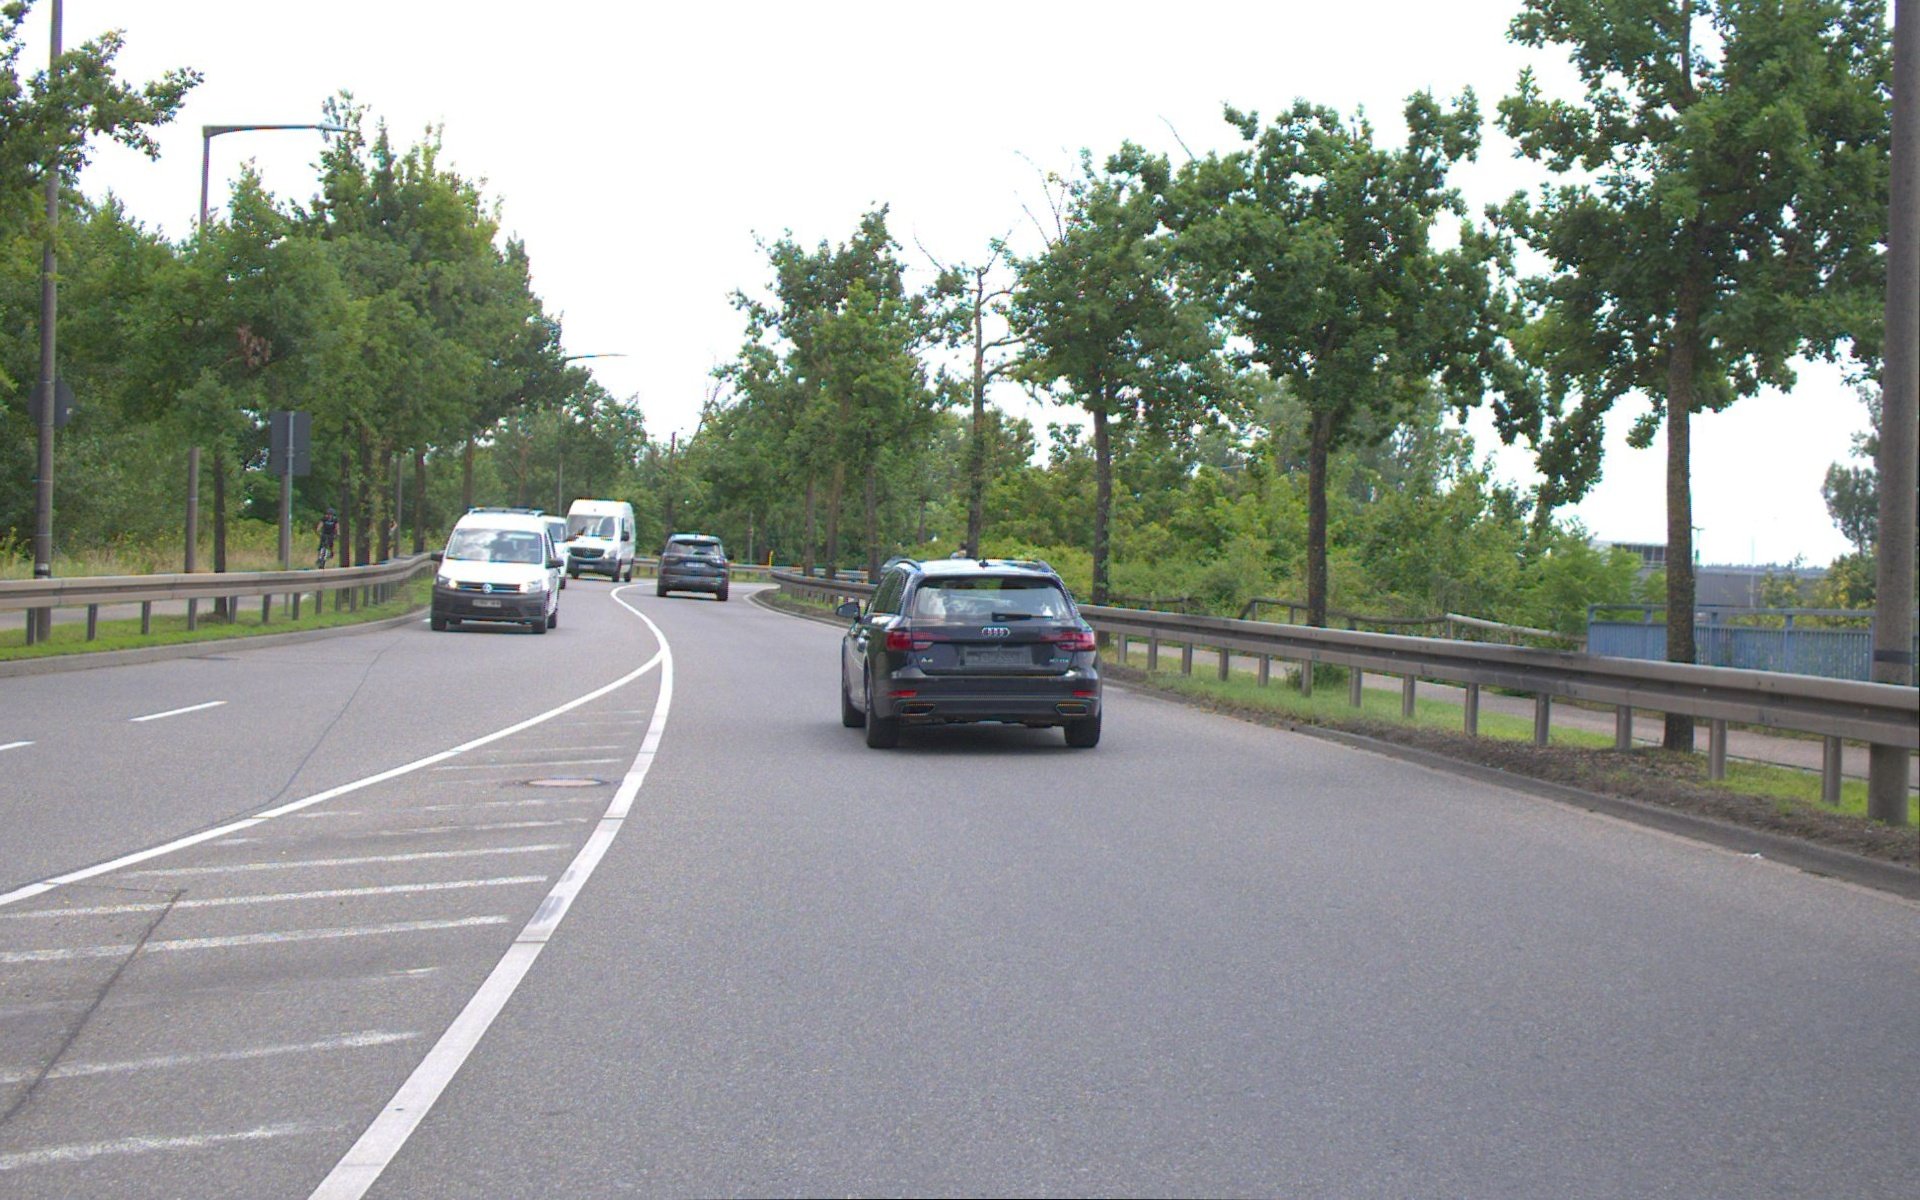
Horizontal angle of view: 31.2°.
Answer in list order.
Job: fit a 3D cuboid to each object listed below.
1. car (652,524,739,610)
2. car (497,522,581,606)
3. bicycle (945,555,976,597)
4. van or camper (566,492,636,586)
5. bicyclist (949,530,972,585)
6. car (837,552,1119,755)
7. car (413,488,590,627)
[{"bbox_3d":[-6.893,-0.835,90.047,1.993,2.030,4.713,2,-1,-2],"label":"car"},{"bbox_3d":[-11.042,-0.906,89.923,1.993,2.007,4.456,4,-1,-8],"label":"car"},{"bbox_3d":[0.006,-0.516,75.503,0.542,0.863,1.750,4,-1,-3],"label":"bicycle"},{"bbox_3d":[-11.413,-1.892,109.054,1.993,2.741,5.386,4,-1,-7],"label":"van or camper"},{"bbox_3d":[0.014,-0.931,75.595,0.474,1.164,0.827,1,-1,-2],"label":"bicyclist"},{"bbox_3d":[0.086,0.383,27.416,1.993,1.386,4.576,3,0,-1],"label":"car"},{"bbox_3d":[-7.146,-0.687,54.027,1.993,2.007,4.558,3,1,1],"label":"car"}]
